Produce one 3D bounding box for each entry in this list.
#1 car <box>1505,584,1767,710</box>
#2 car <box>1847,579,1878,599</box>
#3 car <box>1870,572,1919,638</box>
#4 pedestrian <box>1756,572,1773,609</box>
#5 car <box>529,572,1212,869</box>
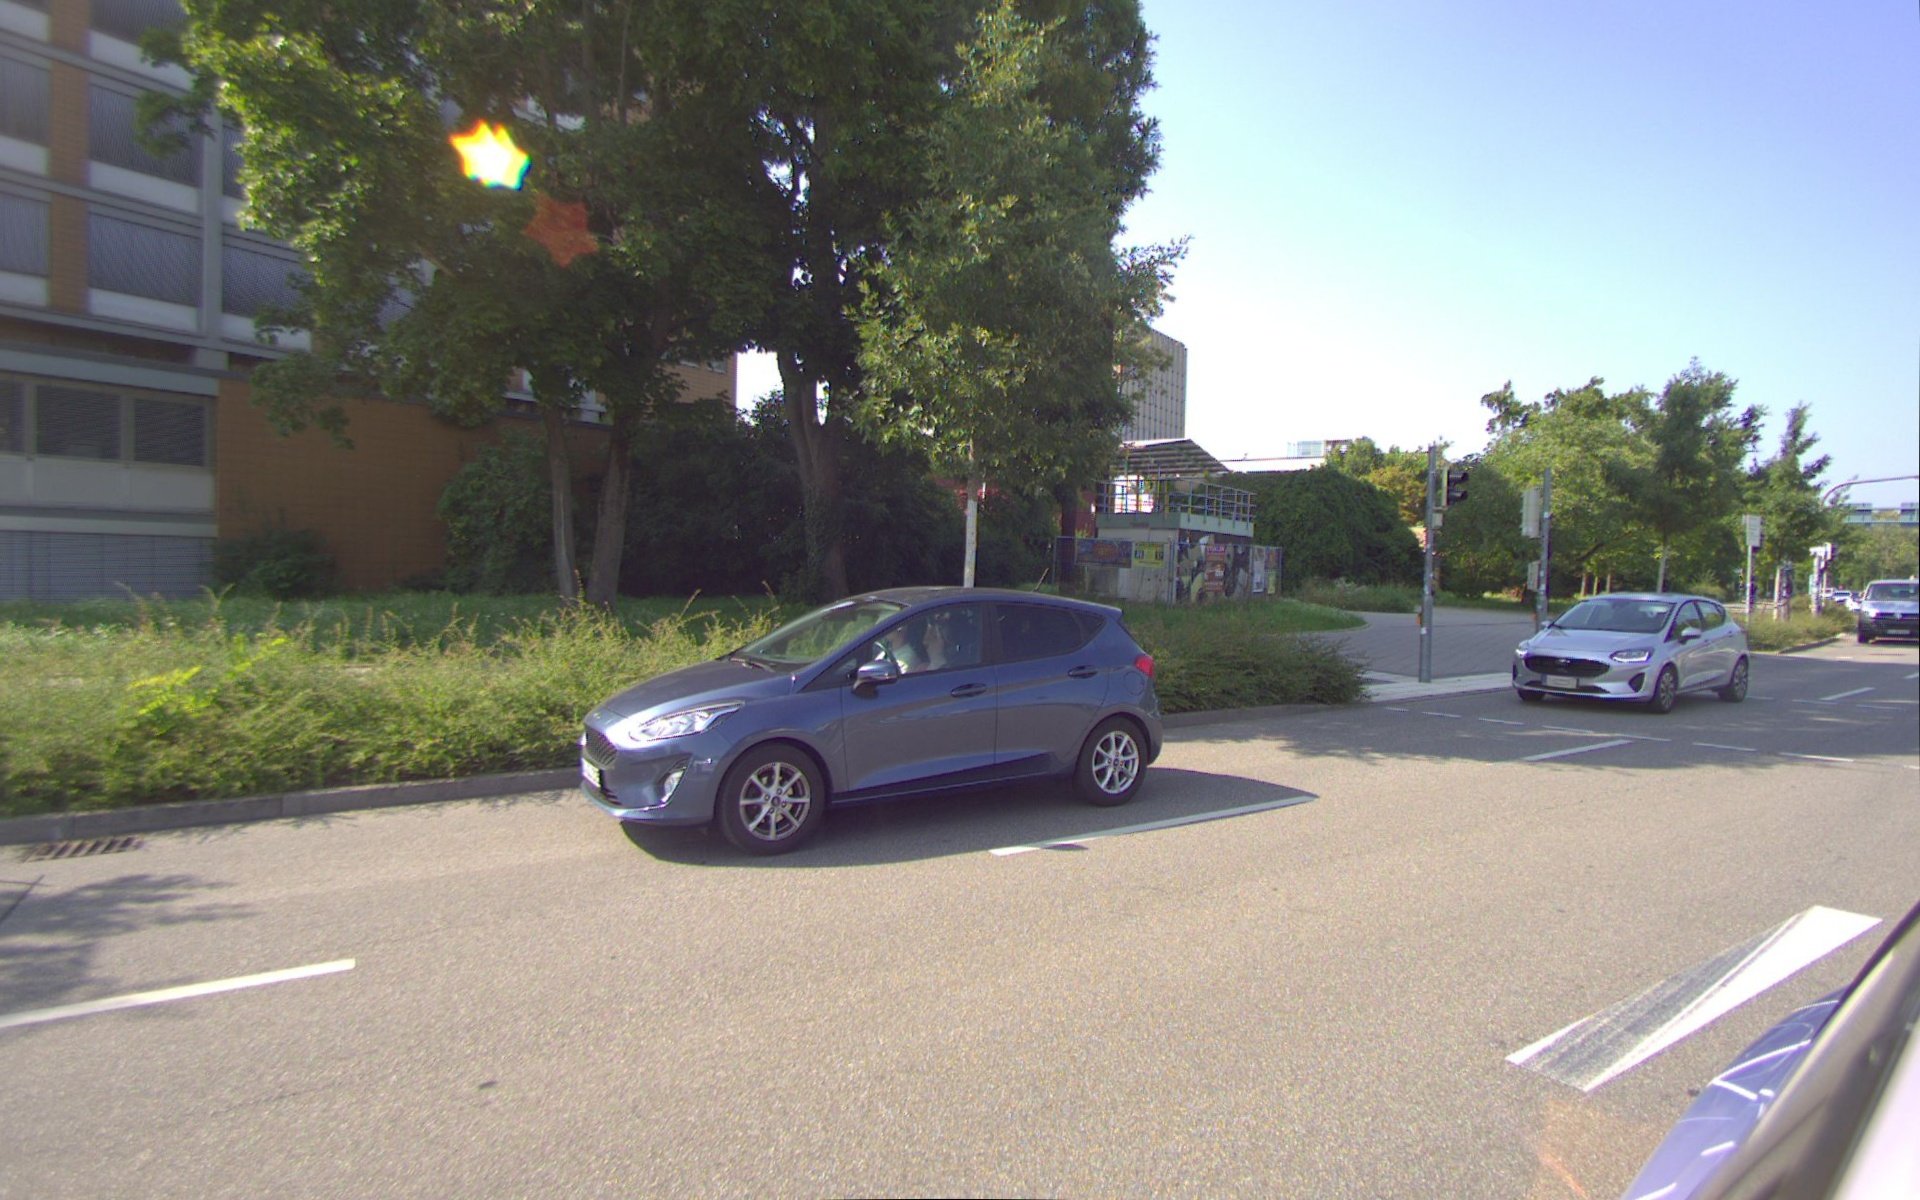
[{"bbox_3d":[9.077,0.521,13.504,3.788,1.451,1.721,0,1,-36],"label":"car"},{"bbox_3d":[83.209,-1.039,93.356,1.823,1.704,3.945,2,2,38],"label":"car"},{"bbox_3d":[29.152,0.102,30.922,1.841,1.898,4.896,1,2,43],"label":"car"},{"bbox_3d":[40.553,-0.480,51.007,0.621,1.868,0.632,2,2,39],"label":"pedestrian"},{"bbox_3d":[-0.467,0.576,6.716,4.236,1.445,1.642,0,0,-31],"label":"car"}]
